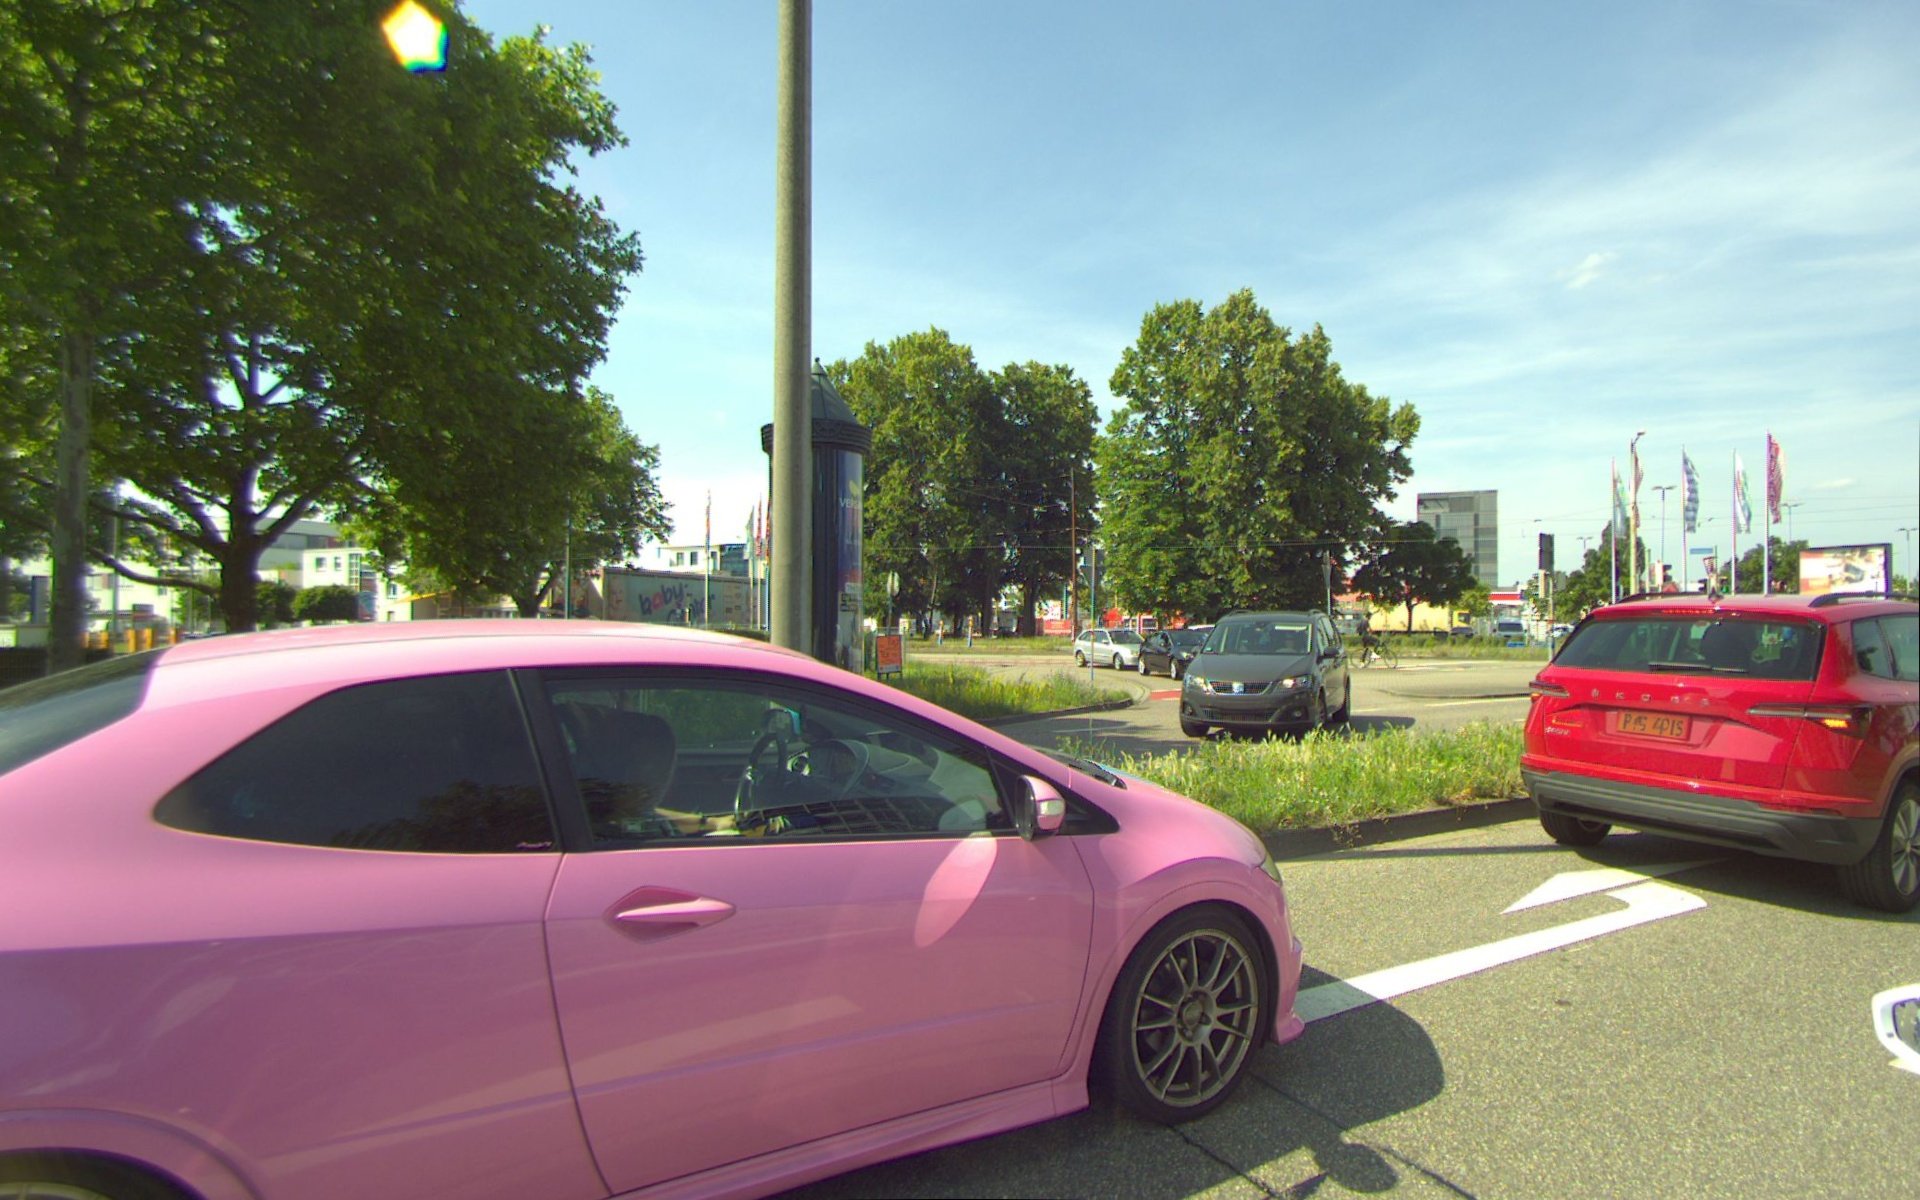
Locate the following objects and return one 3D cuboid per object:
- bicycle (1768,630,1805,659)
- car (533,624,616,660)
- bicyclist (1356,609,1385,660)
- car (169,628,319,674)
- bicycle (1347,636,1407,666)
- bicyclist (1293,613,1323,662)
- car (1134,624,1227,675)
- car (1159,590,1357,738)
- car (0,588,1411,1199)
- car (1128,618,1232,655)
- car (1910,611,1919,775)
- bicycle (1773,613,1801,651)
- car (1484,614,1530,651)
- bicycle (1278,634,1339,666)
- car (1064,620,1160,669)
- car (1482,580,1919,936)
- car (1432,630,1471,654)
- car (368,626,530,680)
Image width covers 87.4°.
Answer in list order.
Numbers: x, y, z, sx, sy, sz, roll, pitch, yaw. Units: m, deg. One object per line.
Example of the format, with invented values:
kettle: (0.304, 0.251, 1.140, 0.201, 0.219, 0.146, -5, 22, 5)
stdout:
bicycle: (36.106, 1.932, 43.879, 2.225, 1.273, 0.667, 1, -2, -36)
car: (-20.239, 2.209, 52.732, 3.925, 1.795, 1.845, -2, 0, 25)
bicyclist: (14.426, 1.220, 35.295, 0.883, 1.738, 0.782, -1, 1, 24)
car: (-27.180, 1.880, 38.296, 1.783, 1.642, 4.339, -1, -2, 23)
bicycle: (14.619, 1.791, 35.230, 1.917, 0.996, 0.788, -2, 0, 24)
bicyclist: (12.294, 1.320, 35.476, 0.883, 1.668, 0.787, -1, 1, 24)
car: (6.550, 1.443, 30.283, 1.731, 1.407, 3.999, -1, -1, -3)
car: (4.434, 0.850, 14.465, 1.835, 1.773, 4.393, -1, -2, 29)
car: (-0.834, 0.698, 2.915, 4.420, 1.408, 1.694, 1, 0, -31)
car: (8.972, 1.479, 40.876, 3.921, 1.439, 2.000, 0, -1, 20)
car: (10.920, 0.877, 9.517, 4.088, 1.499, 1.757, 1, 0, -31)
bicycle: (36.127, 1.393, 43.884, 0.982, 1.636, 0.668, 1, -2, -35)
car: (39.394, 2.309, 72.437, 1.960, 2.566, 4.642, -1, -2, 16)
bicycle: (12.303, 1.761, 35.469, 1.972, 1.053, 0.744, -2, 0, 24)
car: (5.287, 1.563, 35.533, 1.695, 1.624, 4.148, 0, -2, -18)
car: (5.560, 0.744, 6.497, 4.540, 1.614, 1.773, 1, 0, -31)
car: (35.877, 3.028, 73.414, 1.960, 1.706, 4.001, -1, -2, 18)
car: (-17.257, 1.754, 34.228, 1.961, 1.687, 4.845, -1, -2, 21)
